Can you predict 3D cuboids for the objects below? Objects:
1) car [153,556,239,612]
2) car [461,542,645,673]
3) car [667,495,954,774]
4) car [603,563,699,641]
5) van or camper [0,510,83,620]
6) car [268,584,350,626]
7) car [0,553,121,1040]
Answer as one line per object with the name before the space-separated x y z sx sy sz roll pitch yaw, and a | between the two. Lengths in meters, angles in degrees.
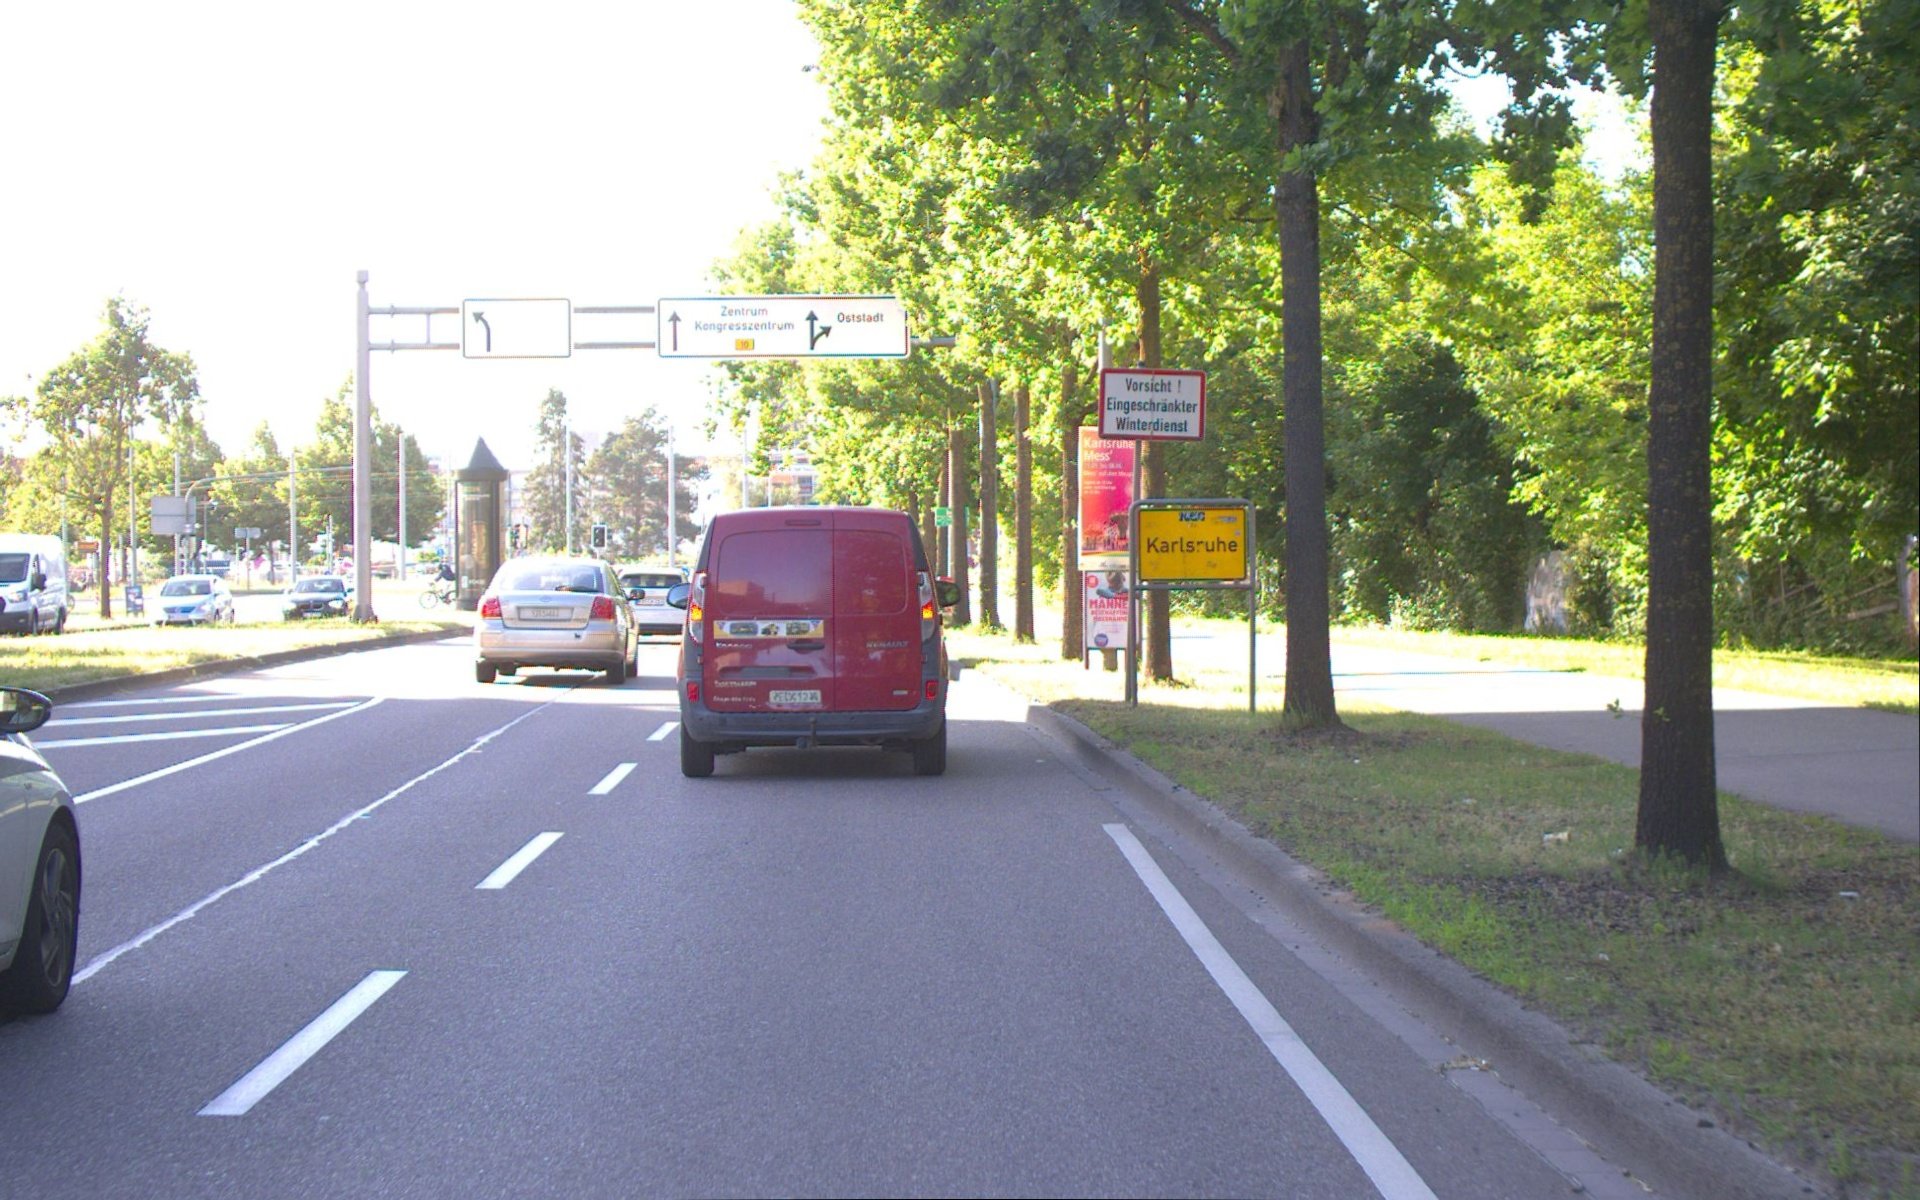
car | -20.510 -0.450 92.446 1.688 1.471 4.050 -1 1 -5
car | -4.788 0.053 40.933 1.841 1.451 4.163 1 1 -2
car | -1.058 0.186 23.927 1.806 1.753 4.006 1 1 -3
car | -5.806 0.016 64.938 1.661 1.393 3.559 0 1 -3
van or camper | -21.355 -0.784 77.208 1.993 2.360 5.994 -2 1 -3
car | -18.351 0.128 97.019 1.827 1.107 4.175 -1 1 -5
car | -3.669 0.582 9.527 1.778 1.404 4.075 0 1 -1
